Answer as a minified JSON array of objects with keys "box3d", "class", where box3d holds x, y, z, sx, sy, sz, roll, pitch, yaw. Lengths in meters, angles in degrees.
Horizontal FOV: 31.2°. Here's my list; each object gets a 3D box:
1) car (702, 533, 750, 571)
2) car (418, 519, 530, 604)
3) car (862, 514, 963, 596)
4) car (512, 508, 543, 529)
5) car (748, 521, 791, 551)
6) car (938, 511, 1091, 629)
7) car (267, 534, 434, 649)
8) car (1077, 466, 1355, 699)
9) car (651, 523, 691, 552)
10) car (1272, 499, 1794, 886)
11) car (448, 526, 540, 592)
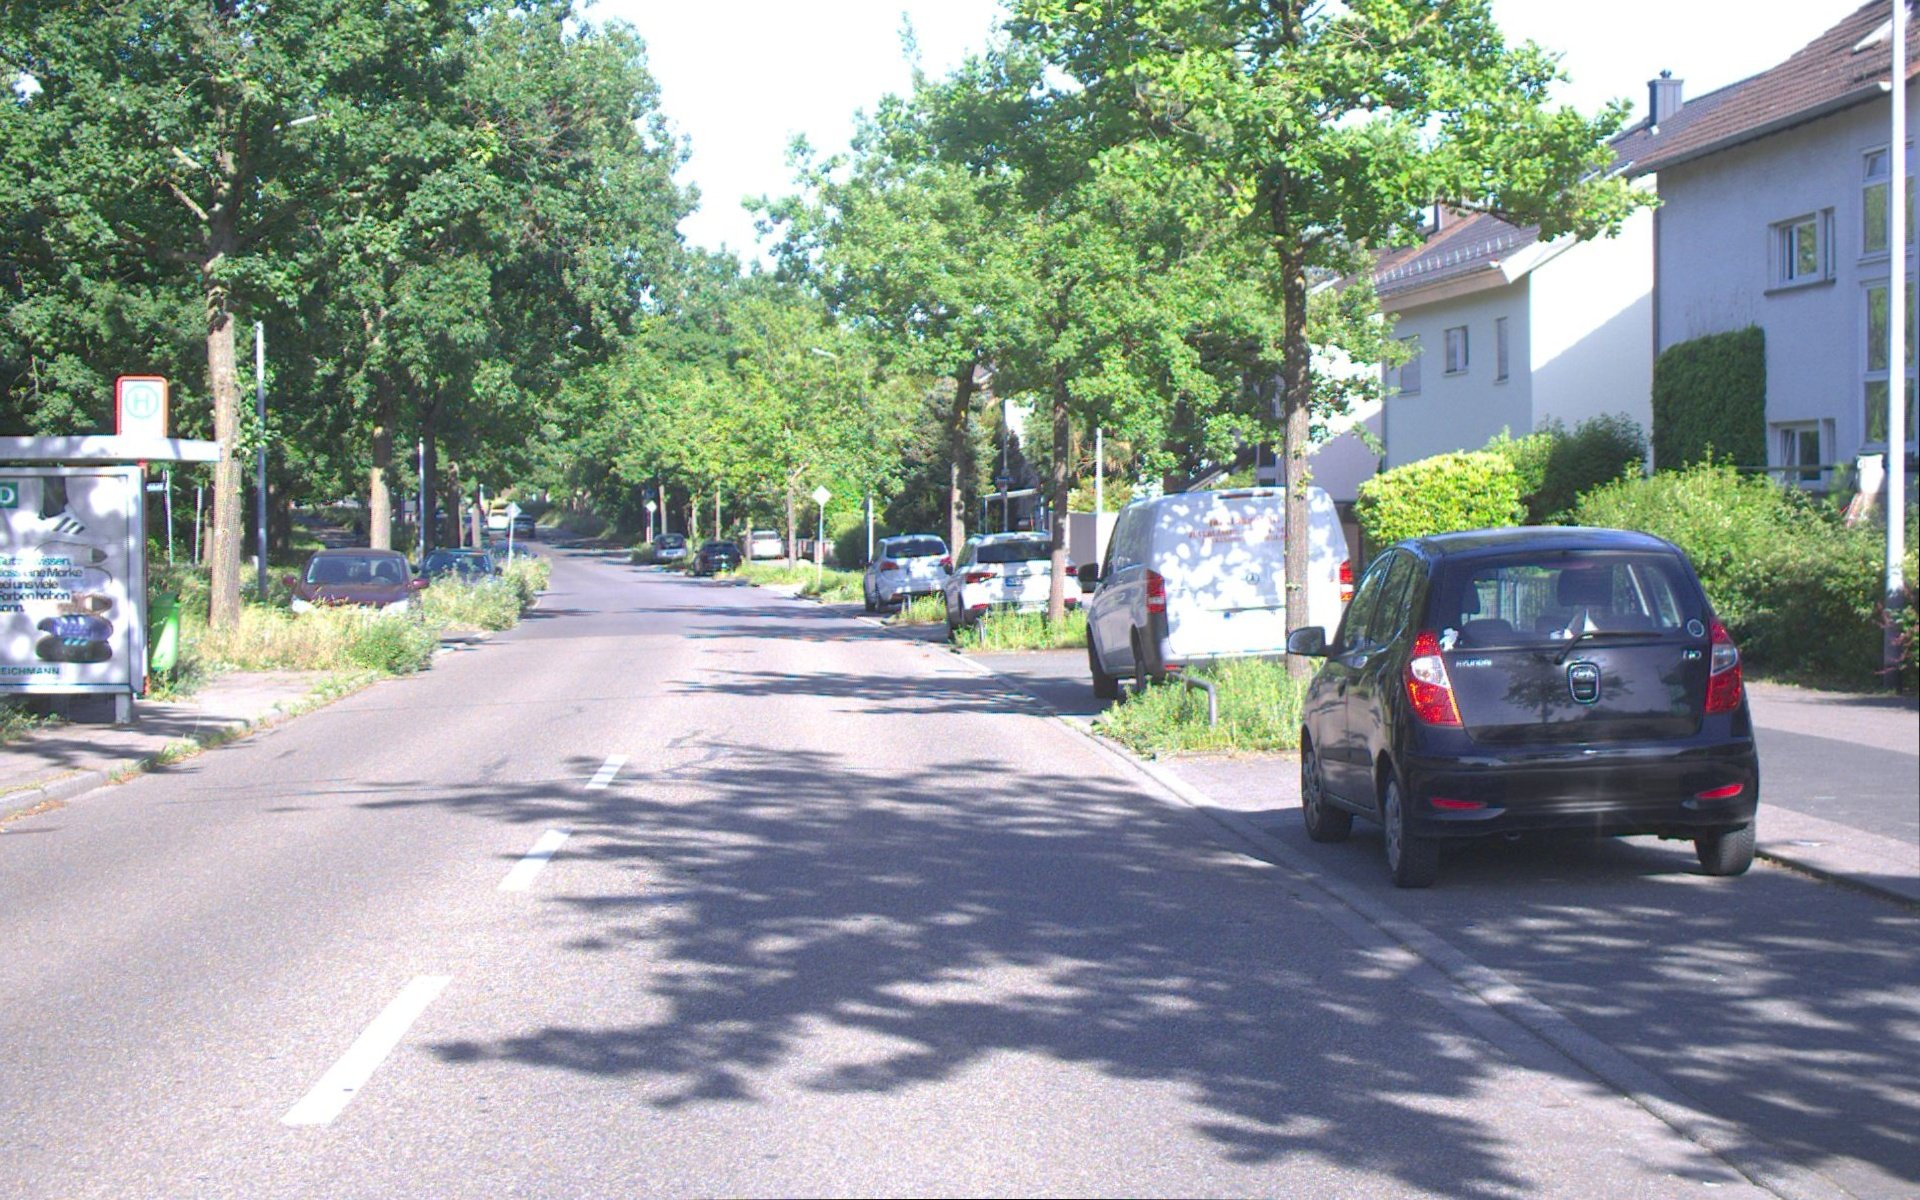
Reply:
[{"box3d":[-9.733,-2.003,142.814,1.933,1.537,4.001,0,1,-4],"class":"car"},{"box3d":[-9.255,-0.752,65.666,1.993,1.551,4.001,1,1,-7],"class":"car"},{"box3d":[-1.056,-0.981,74.120,1.933,1.736,4.001,0,1,-4],"class":"car"},{"box3d":[-29.128,-5.482,231.726,1.933,1.449,4.001,0,1,-6],"class":"car"},{"box3d":[-9.386,-3.131,168.952,1.933,1.449,4.001,0,1,-6],"class":"car"},{"box3d":[0.780,-0.469,51.617,1.935,1.698,4.001,0,1,-4],"class":"car"},{"box3d":[-8.157,-0.145,46.313,1.935,1.474,4.001,0,1,-6],"class":"car"},{"box3d":[2.254,-0.193,31.474,1.835,1.964,4.760,0,1,-4],"class":"car"},{"box3d":[-14.408,-3.123,171.092,1.933,1.449,4.001,0,1,-6],"class":"car"},{"box3d":[2.580,0.348,16.321,1.672,1.573,3.752,-2,1,-2],"class":"car"},{"box3d":[-10.500,-0.939,77.625,1.796,1.474,3.520,0,1,-3],"class":"car"}]
